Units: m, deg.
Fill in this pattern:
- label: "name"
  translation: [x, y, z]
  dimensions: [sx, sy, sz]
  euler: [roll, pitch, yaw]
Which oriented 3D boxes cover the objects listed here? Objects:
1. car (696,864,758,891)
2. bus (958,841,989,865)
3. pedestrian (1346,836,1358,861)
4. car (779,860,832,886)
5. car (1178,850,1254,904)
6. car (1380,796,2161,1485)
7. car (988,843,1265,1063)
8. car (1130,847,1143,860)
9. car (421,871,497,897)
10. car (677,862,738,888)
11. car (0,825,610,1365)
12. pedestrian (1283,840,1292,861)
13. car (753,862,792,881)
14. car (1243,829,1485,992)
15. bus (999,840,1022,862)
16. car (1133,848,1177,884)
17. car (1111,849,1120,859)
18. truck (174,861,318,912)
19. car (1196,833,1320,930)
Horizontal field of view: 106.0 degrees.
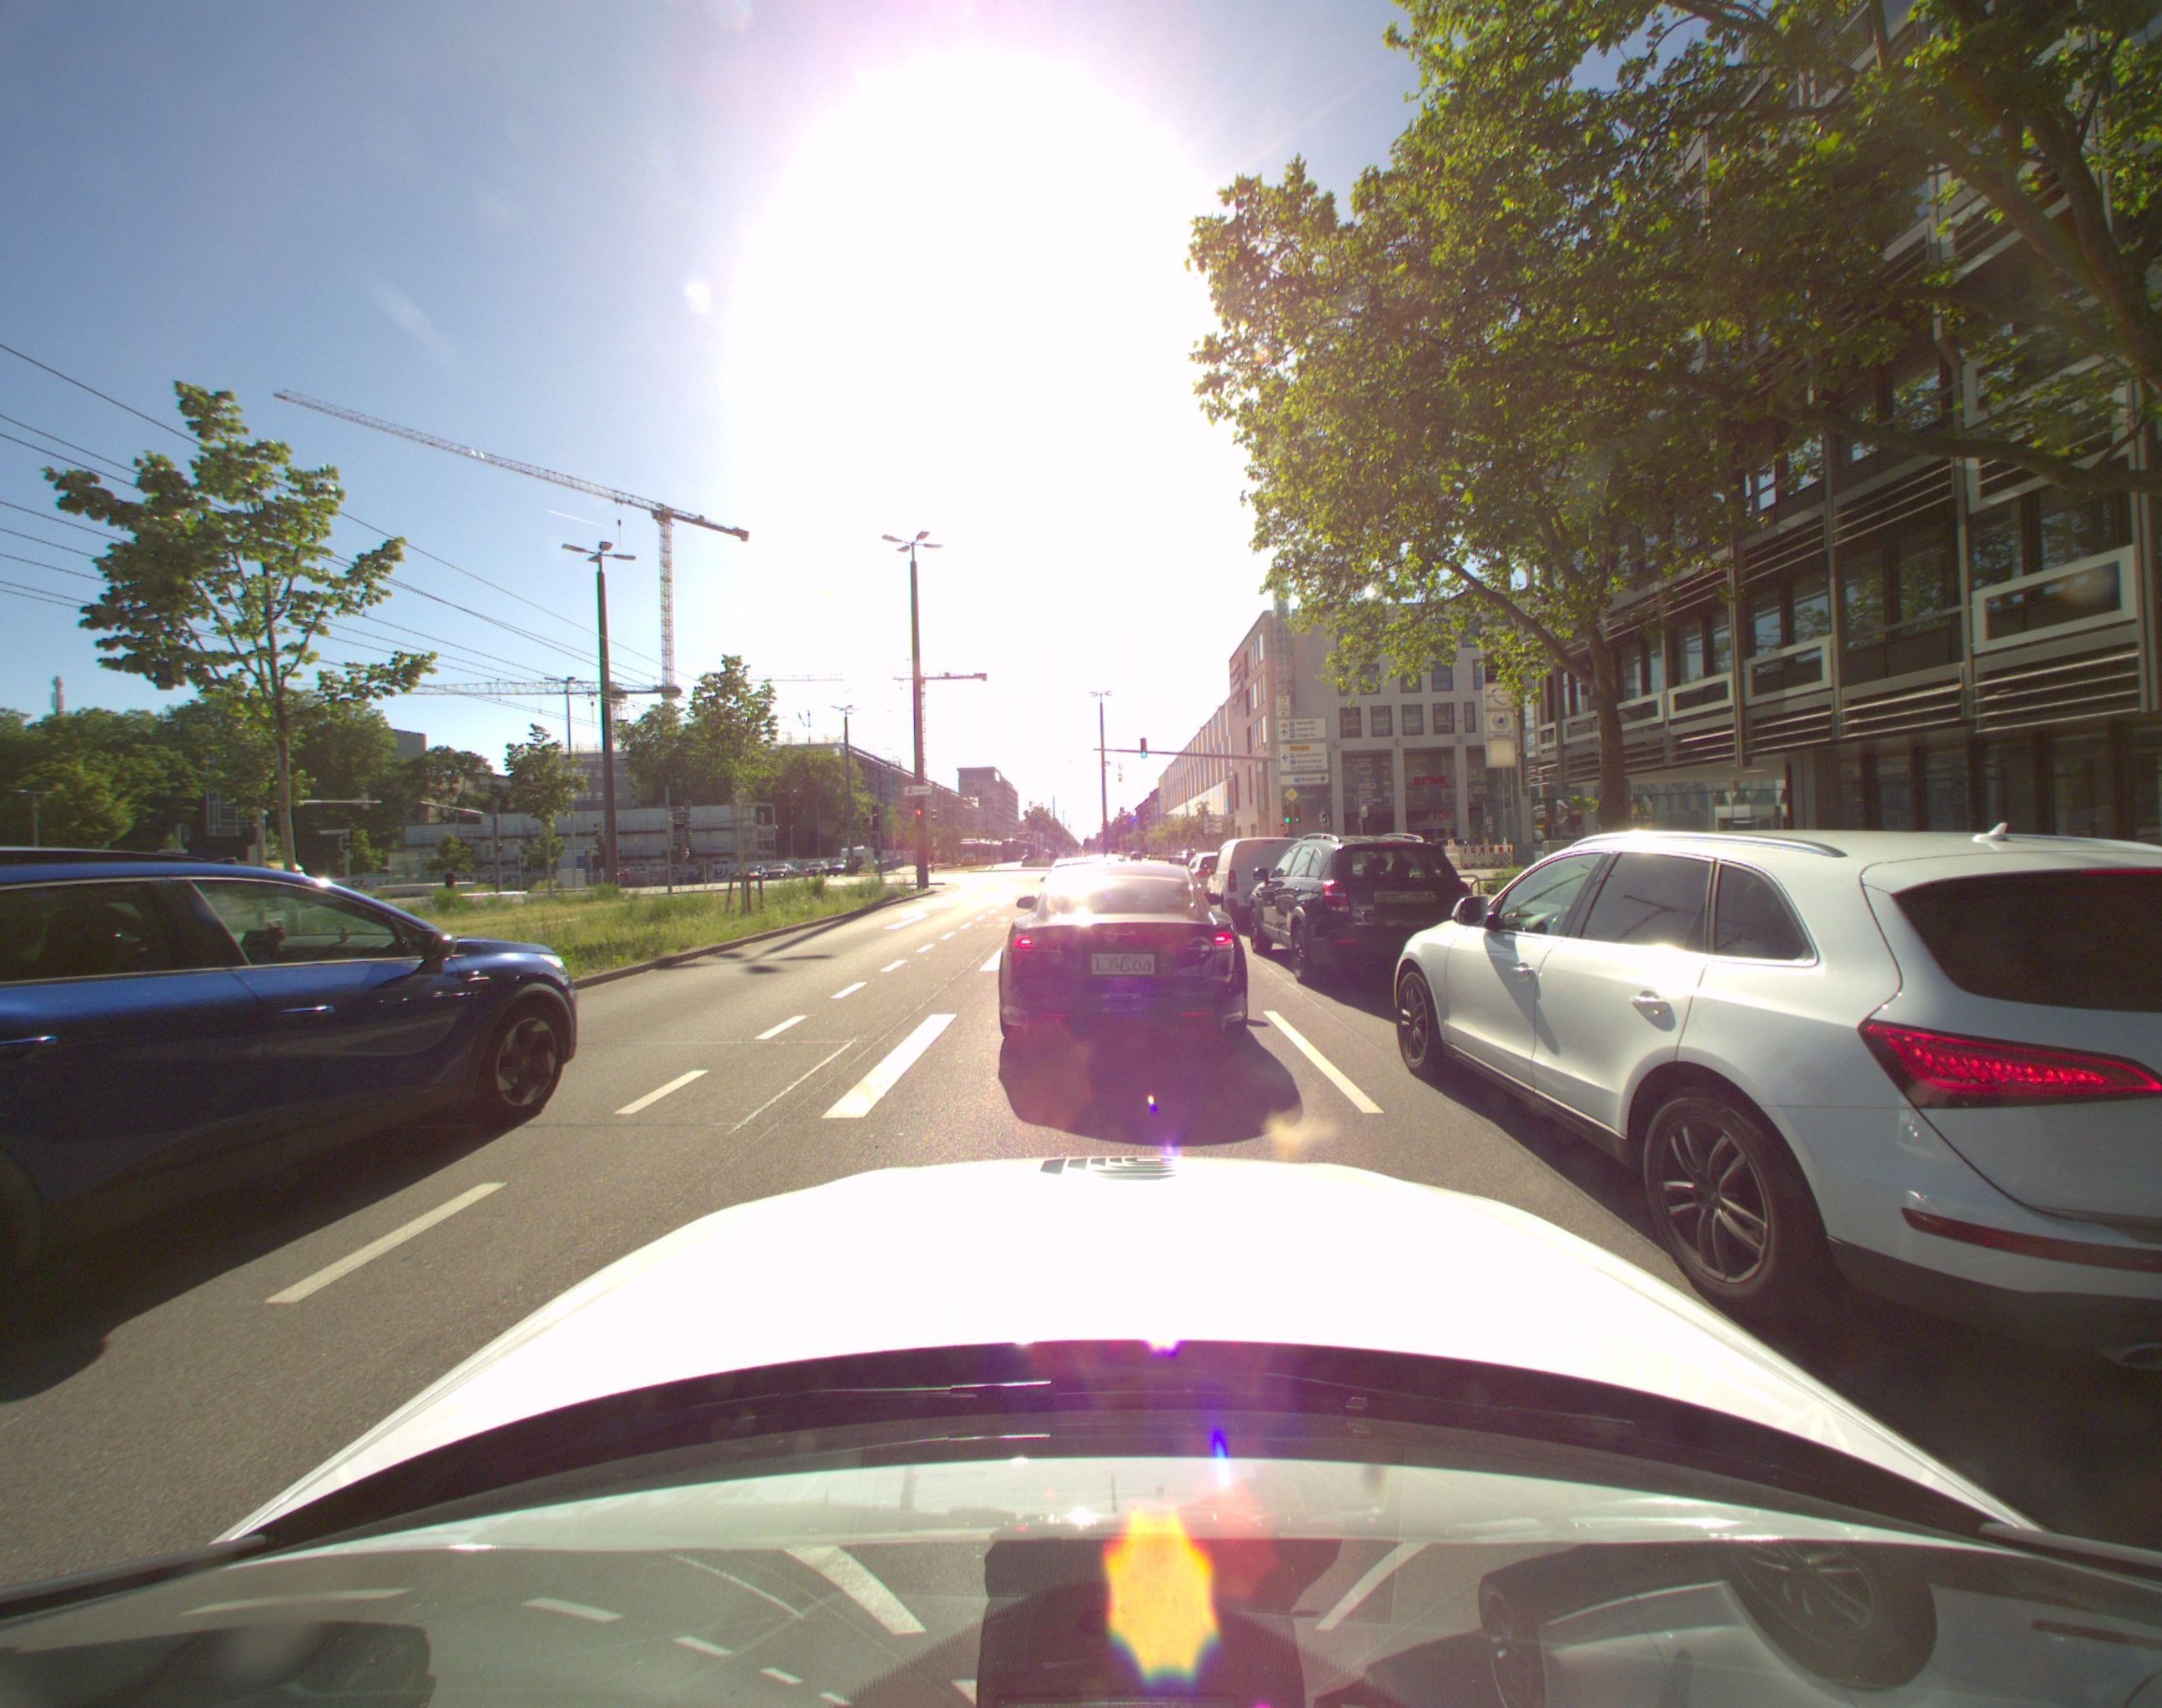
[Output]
- label: "car"
  translation: [-16.260, 1.044, 37.552]
  dimensions: [1.371, 1.178, 3.220]
  euler: [0, -1, 1]
- label: "bus"
  translation: [-12.930, -0.106, 98.632]
  dimensions: [2.620, 2.783, 8.839]
  euler: [0, -1, -1]
- label: "pedestrian"
  translation: [15.971, -0.322, 47.961]
  dimensions: [0.559, 1.440, 0.633]
  euler: [0, -1, 8]
- label: "car"
  translation: [-13.073, 0.876, 38.806]
  dimensions: [1.371, 1.178, 3.220]
  euler: [0, -1, 1]
- label: "car"
  translation: [3.969, 0.624, 24.580]
  dimensions: [1.715, 1.431, 4.188]
  euler: [-2, 0, 2]
- label: "car"
  translation: [3.008, 0.644, 3.989]
  dimensions: [1.714, 1.618, 4.190]
  euler: [-2, 0, 3]
- label: "car"
  translation: [0.345, 0.676, 7.721]
  dimensions: [1.905, 1.486, 4.010]
  euler: [-2, 0, 1]
- label: "car"
  translation: [8.966, -0.090, 132.704]
  dimensions: [1.986, 2.014, 4.001]
  euler: [0, -1, 2]
- label: "car"
  translation: [-40.054, 1.923, 52.578]
  dimensions: [1.704, 1.556, 4.001]
  euler: [0, -1, 2]
- label: "car"
  translation: [-17.881, 0.981, 39.138]
  dimensions: [1.371, 1.178, 3.220]
  euler: [0, -1, 1]
- label: "car"
  translation: [-4.122, 0.727, 3.517]
  dimensions: [1.739, 1.622, 4.152]
  euler: [-1, 0, 0]
- label: "pedestrian"
  translation: [14.568, -0.254, 57.369]
  dimensions: [0.559, 1.440, 0.633]
  euler: [0, -1, 8]
- label: "car"
  translation: [-26.841, 1.468, 71.061]
  dimensions: [1.831, 1.612, 3.896]
  euler: [0, -1, 1]
- label: "car"
  translation: [3.361, 0.571, 10.552]
  dimensions: [1.715, 1.653, 4.187]
  euler: [-2, 0, 1]
- label: "bus"
  translation: [-9.900, -0.305, 115.670]
  dimensions: [2.620, 2.959, 9.893]
  euler: [0, -1, -1]
- label: "car"
  translation: [3.254, 0.494, 36.342]
  dimensions: [1.715, 1.431, 4.188]
  euler: [-2, 0, 2]
- label: "car"
  translation: [7.240, -0.030, 171.527]
  dimensions: [1.986, 2.014, 4.001]
  euler: [0, -1, 2]
- label: "truck"
  translation: [-49.936, 1.931, 48.763]
  dimensions: [6.930, 2.963, 2.003]
  euler: [0, -1, 5]
- label: "car"
  translation: [3.634, 0.496, 17.456]
  dimensions: [1.716, 1.782, 4.186]
  euler: [-2, 0, 0]
